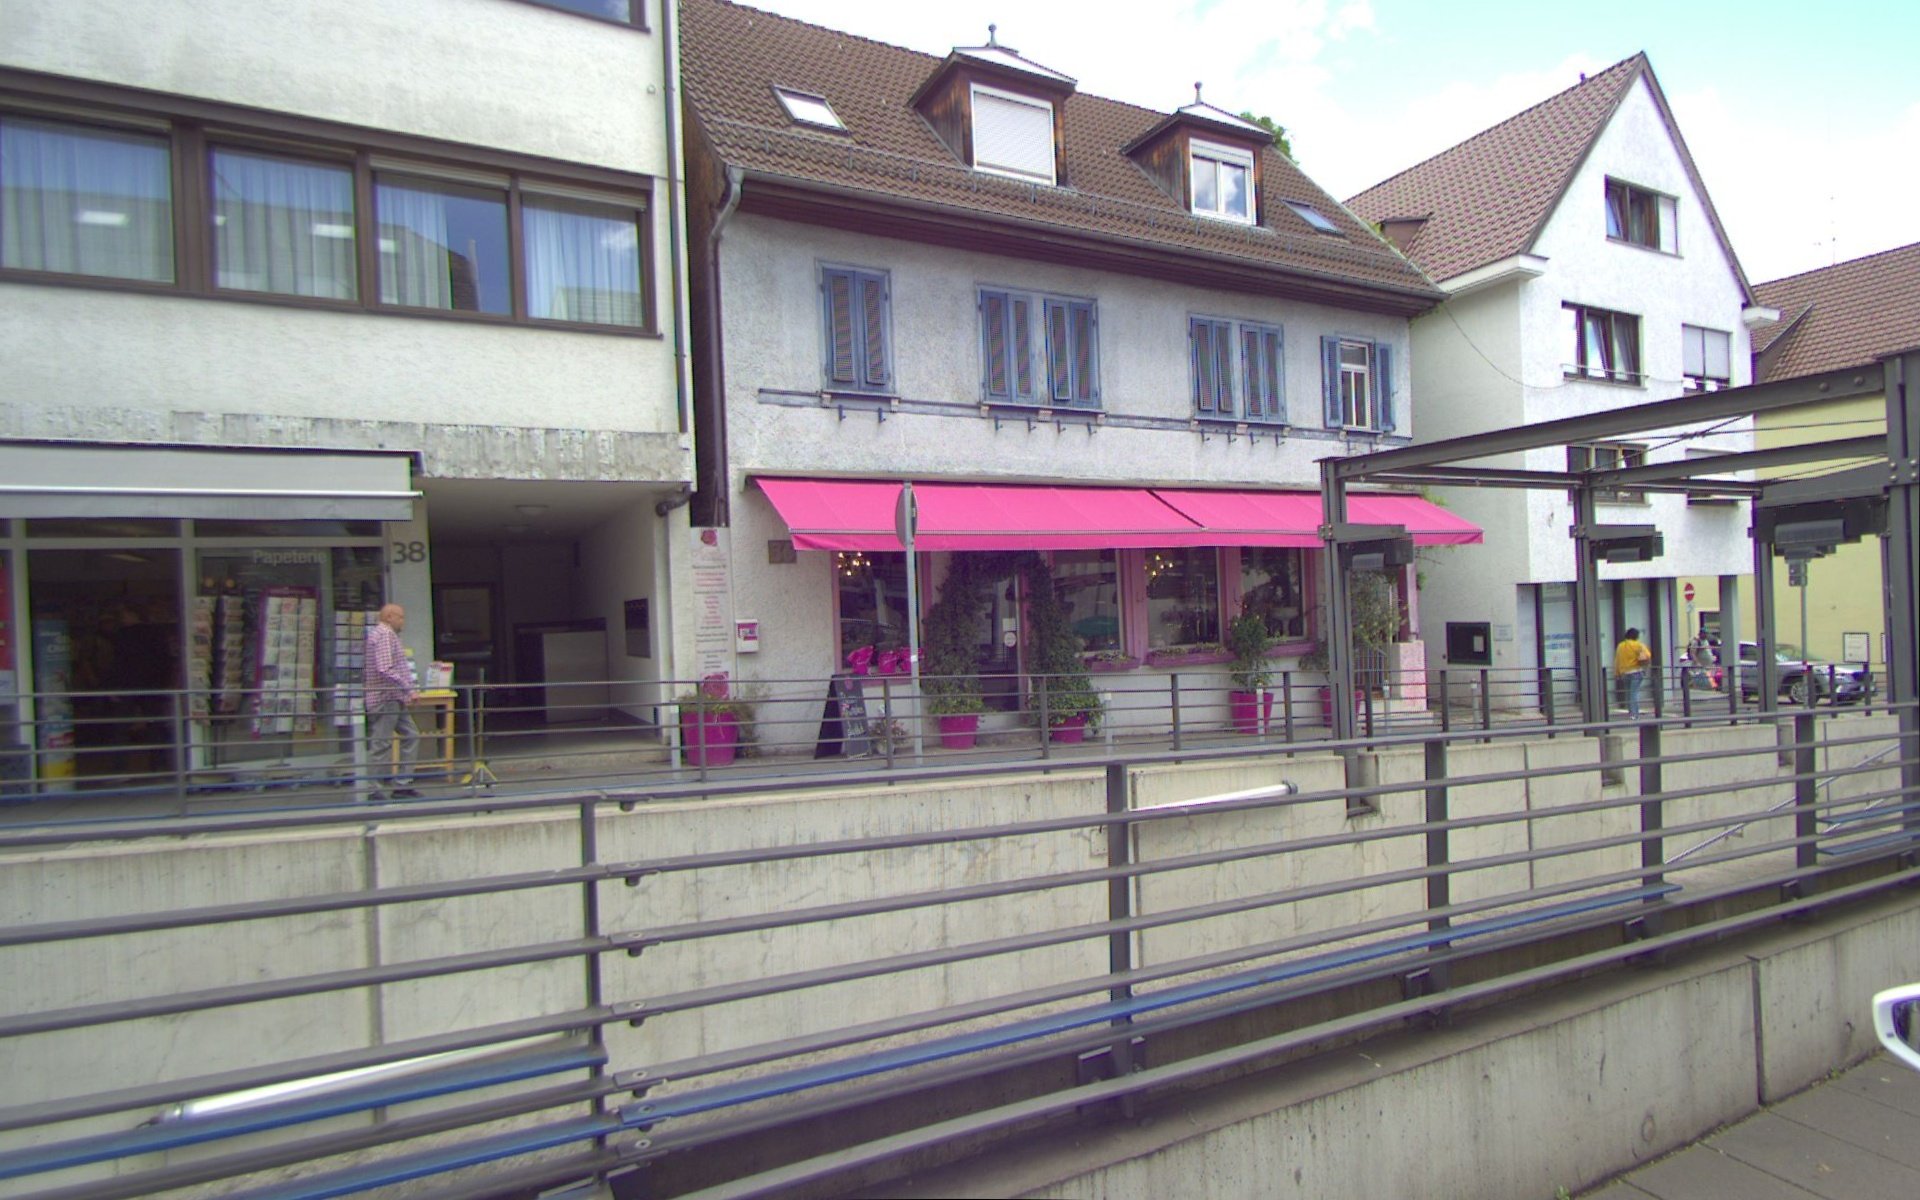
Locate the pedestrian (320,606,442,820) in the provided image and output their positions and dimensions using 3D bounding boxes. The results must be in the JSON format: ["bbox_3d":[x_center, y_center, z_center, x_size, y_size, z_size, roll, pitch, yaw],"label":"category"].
[{"bbox_3d":[-4.896,0.924,8.541,0.816,1.711,0.637,1,-2,-25],"label":"pedestrian"}]

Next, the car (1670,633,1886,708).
[{"bbox_3d":[21.545,1.796,26.688,1.805,1.754,4.179,1,-1,-16],"label":"car"}]

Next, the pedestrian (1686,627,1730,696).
[{"bbox_3d":[19.093,1.556,25.639,0.722,1.711,0.648,1,0,-32],"label":"pedestrian"}]

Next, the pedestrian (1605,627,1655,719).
[{"bbox_3d":[12.894,1.390,19.335,0.570,1.711,0.575,1,0,-30],"label":"pedestrian"}]
